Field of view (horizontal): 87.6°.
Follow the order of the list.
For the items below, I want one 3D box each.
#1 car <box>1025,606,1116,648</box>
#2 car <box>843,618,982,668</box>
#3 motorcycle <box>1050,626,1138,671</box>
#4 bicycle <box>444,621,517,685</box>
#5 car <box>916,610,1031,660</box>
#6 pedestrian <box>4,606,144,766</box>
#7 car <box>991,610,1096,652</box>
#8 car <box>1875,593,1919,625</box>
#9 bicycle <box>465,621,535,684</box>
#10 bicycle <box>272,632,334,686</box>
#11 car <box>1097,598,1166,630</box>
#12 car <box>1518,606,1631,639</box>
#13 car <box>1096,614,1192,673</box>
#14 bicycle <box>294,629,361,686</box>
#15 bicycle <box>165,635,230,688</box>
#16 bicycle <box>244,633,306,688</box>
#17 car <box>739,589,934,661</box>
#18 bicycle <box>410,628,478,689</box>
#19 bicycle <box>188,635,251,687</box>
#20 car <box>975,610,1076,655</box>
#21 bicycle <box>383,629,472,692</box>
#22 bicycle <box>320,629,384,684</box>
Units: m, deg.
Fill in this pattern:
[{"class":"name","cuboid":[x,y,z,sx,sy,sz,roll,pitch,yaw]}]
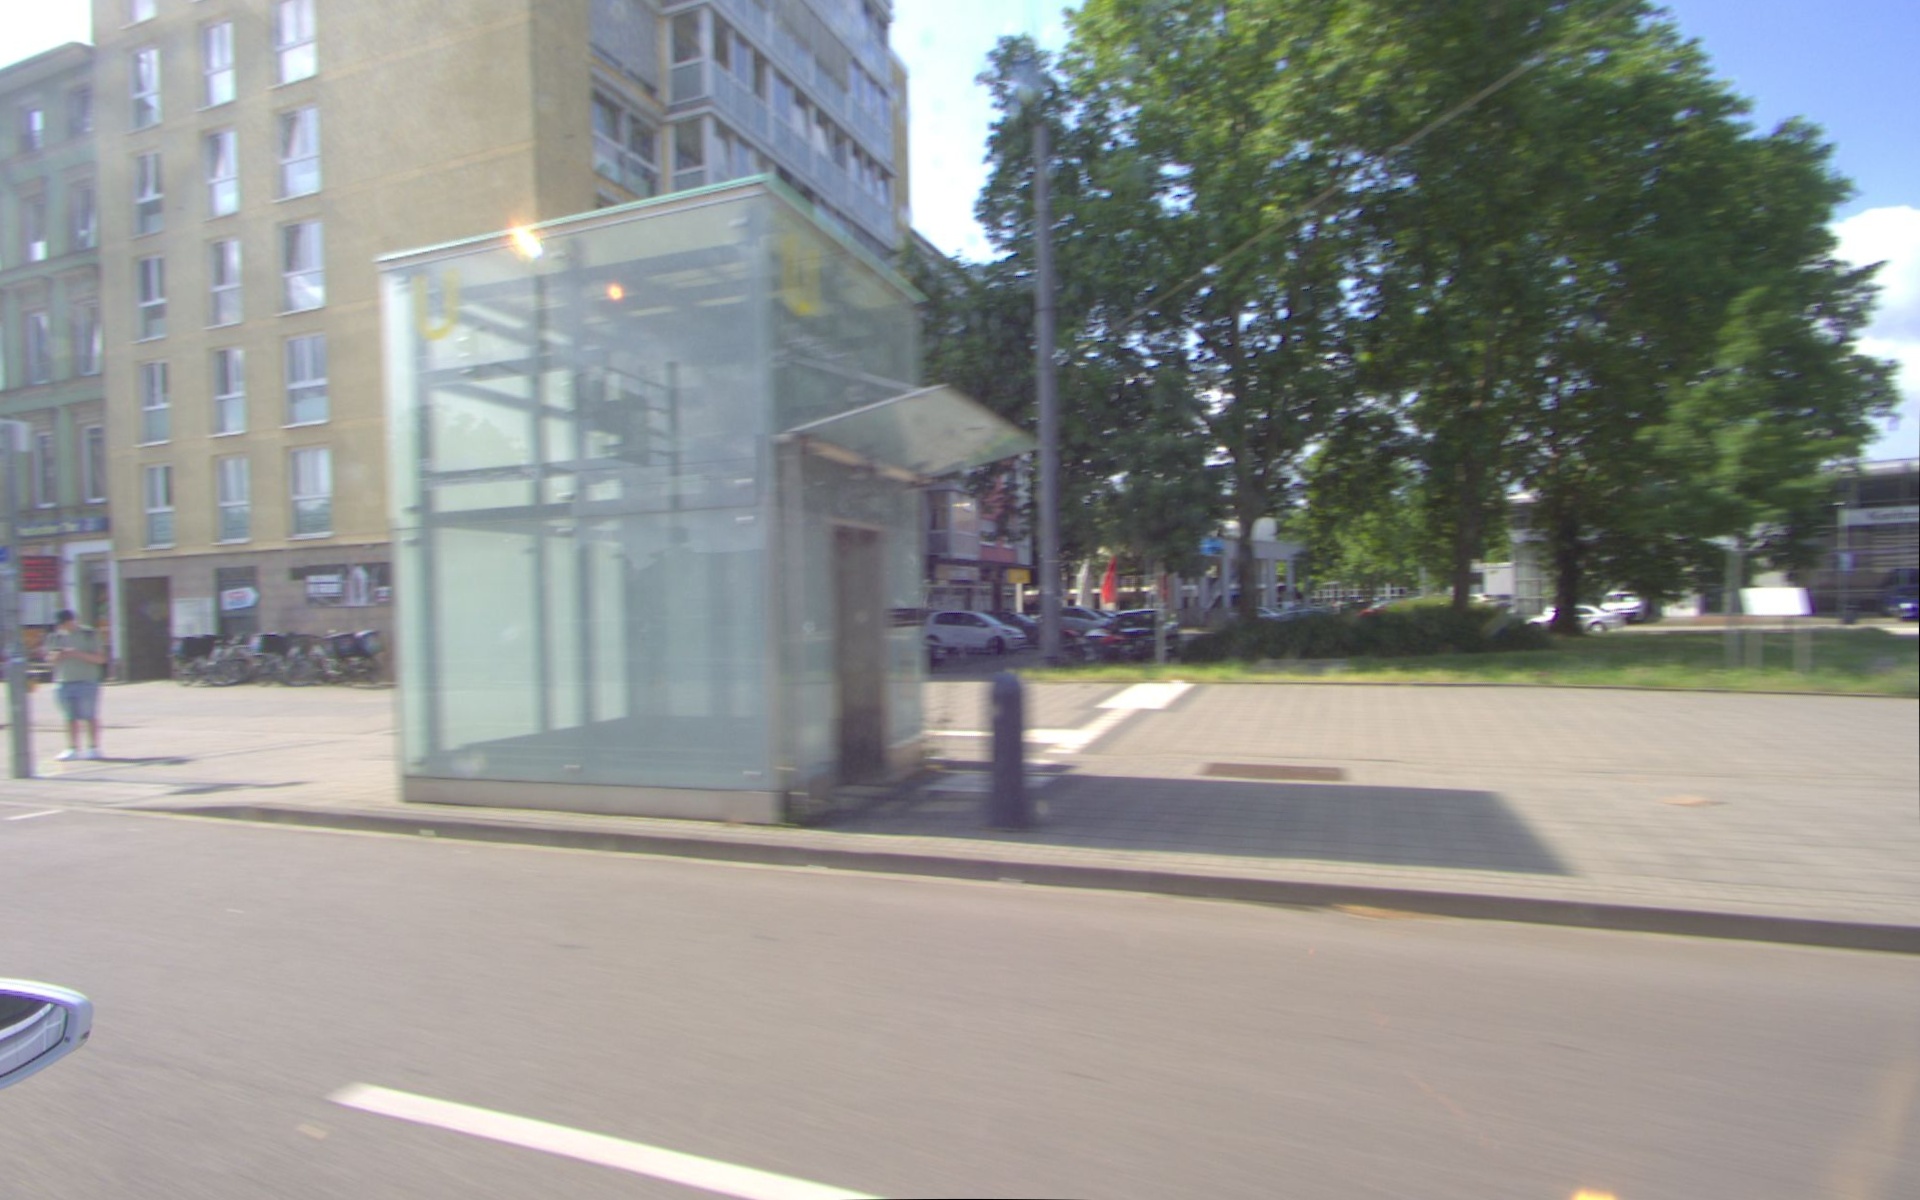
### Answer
[{"class":"car","cuboid":[5.236,1.323,47.436,3.931,1.753,1.816,-3,-3,19]},{"class":"car","cuboid":[-1.452,1.334,30.596,3.933,1.343,1.583,-4,-3,21]},{"class":"motorcycle","cuboid":[2.967,1.063,22.148,1.863,0.914,0.604,-1,-1,-22]},{"class":"bicycle","cuboid":[-10.245,1.111,21.371,1.619,1.289,0.529,1,1,27]},{"class":"car","cuboid":[0.481,1.239,34.859,3.514,1.548,1.996,-3,-3,21]},{"class":"pedestrian","cuboid":[-10.468,0.999,11.871,0.771,1.782,0.996,-2,-2,-2]},{"class":"car","cuboid":[3.426,1.305,41.044,3.931,1.482,1.868,-3,-3,20]},{"class":"car","cuboid":[44.863,0.391,47.218,1.899,1.464,3.978,-1,0,33]},{"class":"bicycle","cuboid":[-10.047,1.133,21.872,1.619,1.289,0.486,1,1,27]},{"class":"bicycle","cuboid":[-15.804,1.413,24.082,1.619,1.218,0.486,1,1,27]},{"class":"car","cuboid":[9.779,0.811,57.103,3.562,1.613,1.661,-4,-3,25]},{"class":"car","cuboid":[30.742,1.156,50.207,4.503,1.370,1.983,-5,-4,43]},{"class":"car","cuboid":[5.204,1.139,27.969,1.767,1.439,3.988,1,0,24]},{"class":"bicycle","cuboid":[-14.467,1.290,22.890,1.619,1.218,0.547,1,1,27]},{"class":"bicycle","cuboid":[-18.688,1.490,24.540,1.617,1.218,0.486,1,1,22]},{"class":"bicycle","cuboid":[-16.185,1.404,23.666,1.619,1.218,0.486,1,1,27]},{"class":"car","cuboid":[-3.002,0.653,24.464,4.316,1.605,1.997,-2,-3,21]},{"class":"bicycle","cuboid":[-11.557,1.299,22.421,1.619,1.289,0.486,1,1,27]},{"class":"bicycle","cuboid":[-18.539,1.514,25.059,1.617,1.218,0.486,1,1,22]},{"class":"car","cuboid":[2.550,1.280,38.767,3.514,1.549,1.693,-3,-3,21]},{"class":"bicycle","cuboid":[-11.552,1.301,21.721,1.855,1.289,0.487,1,1,14]},{"class":"bicycle","cuboid":[-14.196,1.308,23.380,1.619,1.218,0.486,1,1,27]}]
